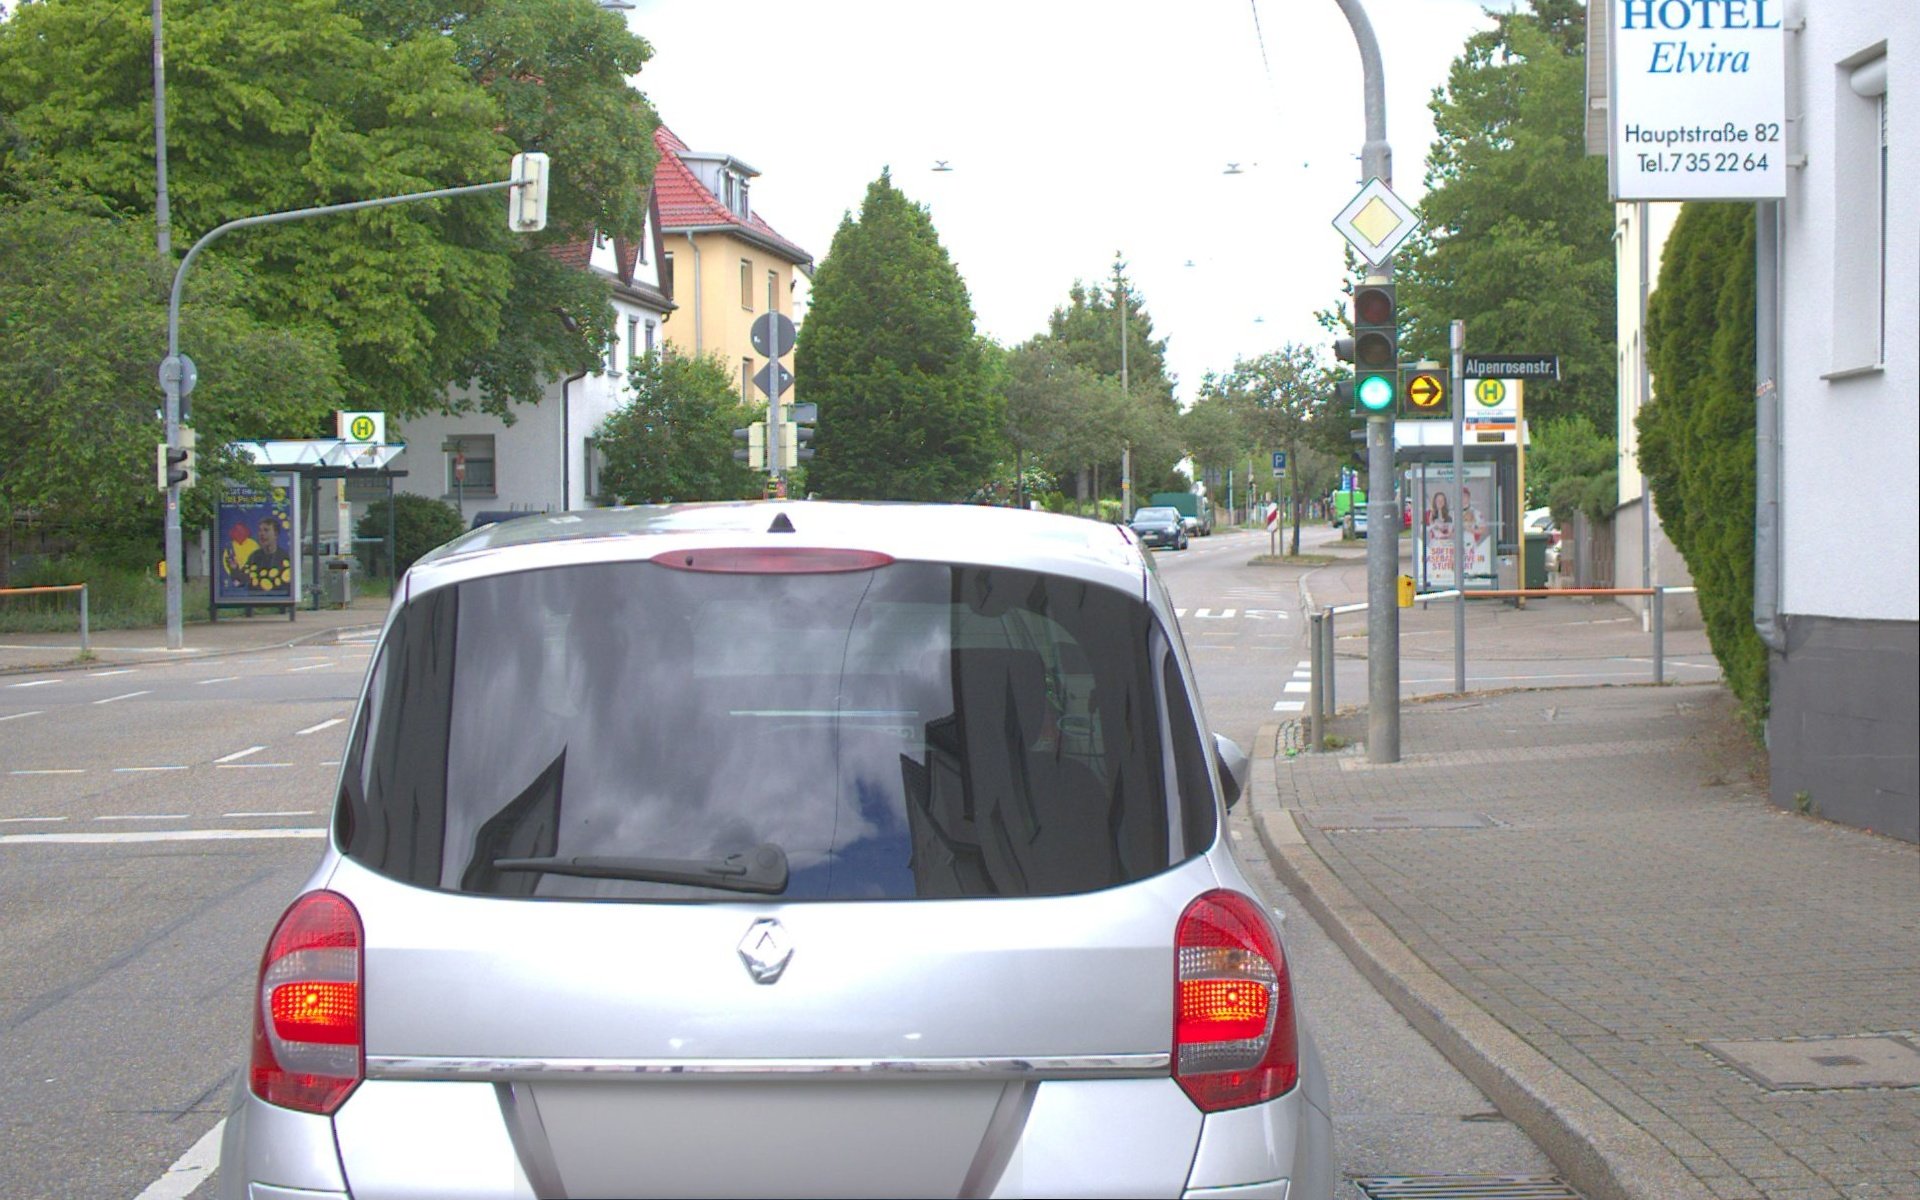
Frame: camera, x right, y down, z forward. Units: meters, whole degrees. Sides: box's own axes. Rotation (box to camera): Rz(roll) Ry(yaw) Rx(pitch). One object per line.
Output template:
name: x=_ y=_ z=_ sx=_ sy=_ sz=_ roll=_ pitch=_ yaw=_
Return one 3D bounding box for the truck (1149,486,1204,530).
truck: x=10.496 y=-4.437 z=166.497 sx=2.102 sy=2.007 sz=5.745 roll=0 pitch=1 yaw=9

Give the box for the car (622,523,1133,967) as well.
car: x=-0.319 y=0.475 z=13.779 sx=1.755 sy=1.525 sz=3.797 roll=0 pitch=1 yaw=-1

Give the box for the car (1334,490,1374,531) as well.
car: x=25.214 y=-5.715 z=219.777 sx=2.060 sy=2.503 sz=5.593 roll=1 pitch=1 yaw=11

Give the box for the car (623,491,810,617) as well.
car: x=-3.784 y=-0.746 z=54.184 sx=1.927 sy=1.767 sz=3.999 roll=-4 pitch=1 yaw=10

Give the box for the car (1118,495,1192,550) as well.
car: x=6.411 y=-2.524 z=112.572 sx=1.858 sy=1.742 sz=3.998 roll=1 pitch=1 yaw=11

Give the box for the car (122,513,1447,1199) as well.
car: x=-0.270 y=0.622 z=6.574 sx=1.755 sy=1.525 sz=4.000 roll=0 pitch=1 yaw=-1
